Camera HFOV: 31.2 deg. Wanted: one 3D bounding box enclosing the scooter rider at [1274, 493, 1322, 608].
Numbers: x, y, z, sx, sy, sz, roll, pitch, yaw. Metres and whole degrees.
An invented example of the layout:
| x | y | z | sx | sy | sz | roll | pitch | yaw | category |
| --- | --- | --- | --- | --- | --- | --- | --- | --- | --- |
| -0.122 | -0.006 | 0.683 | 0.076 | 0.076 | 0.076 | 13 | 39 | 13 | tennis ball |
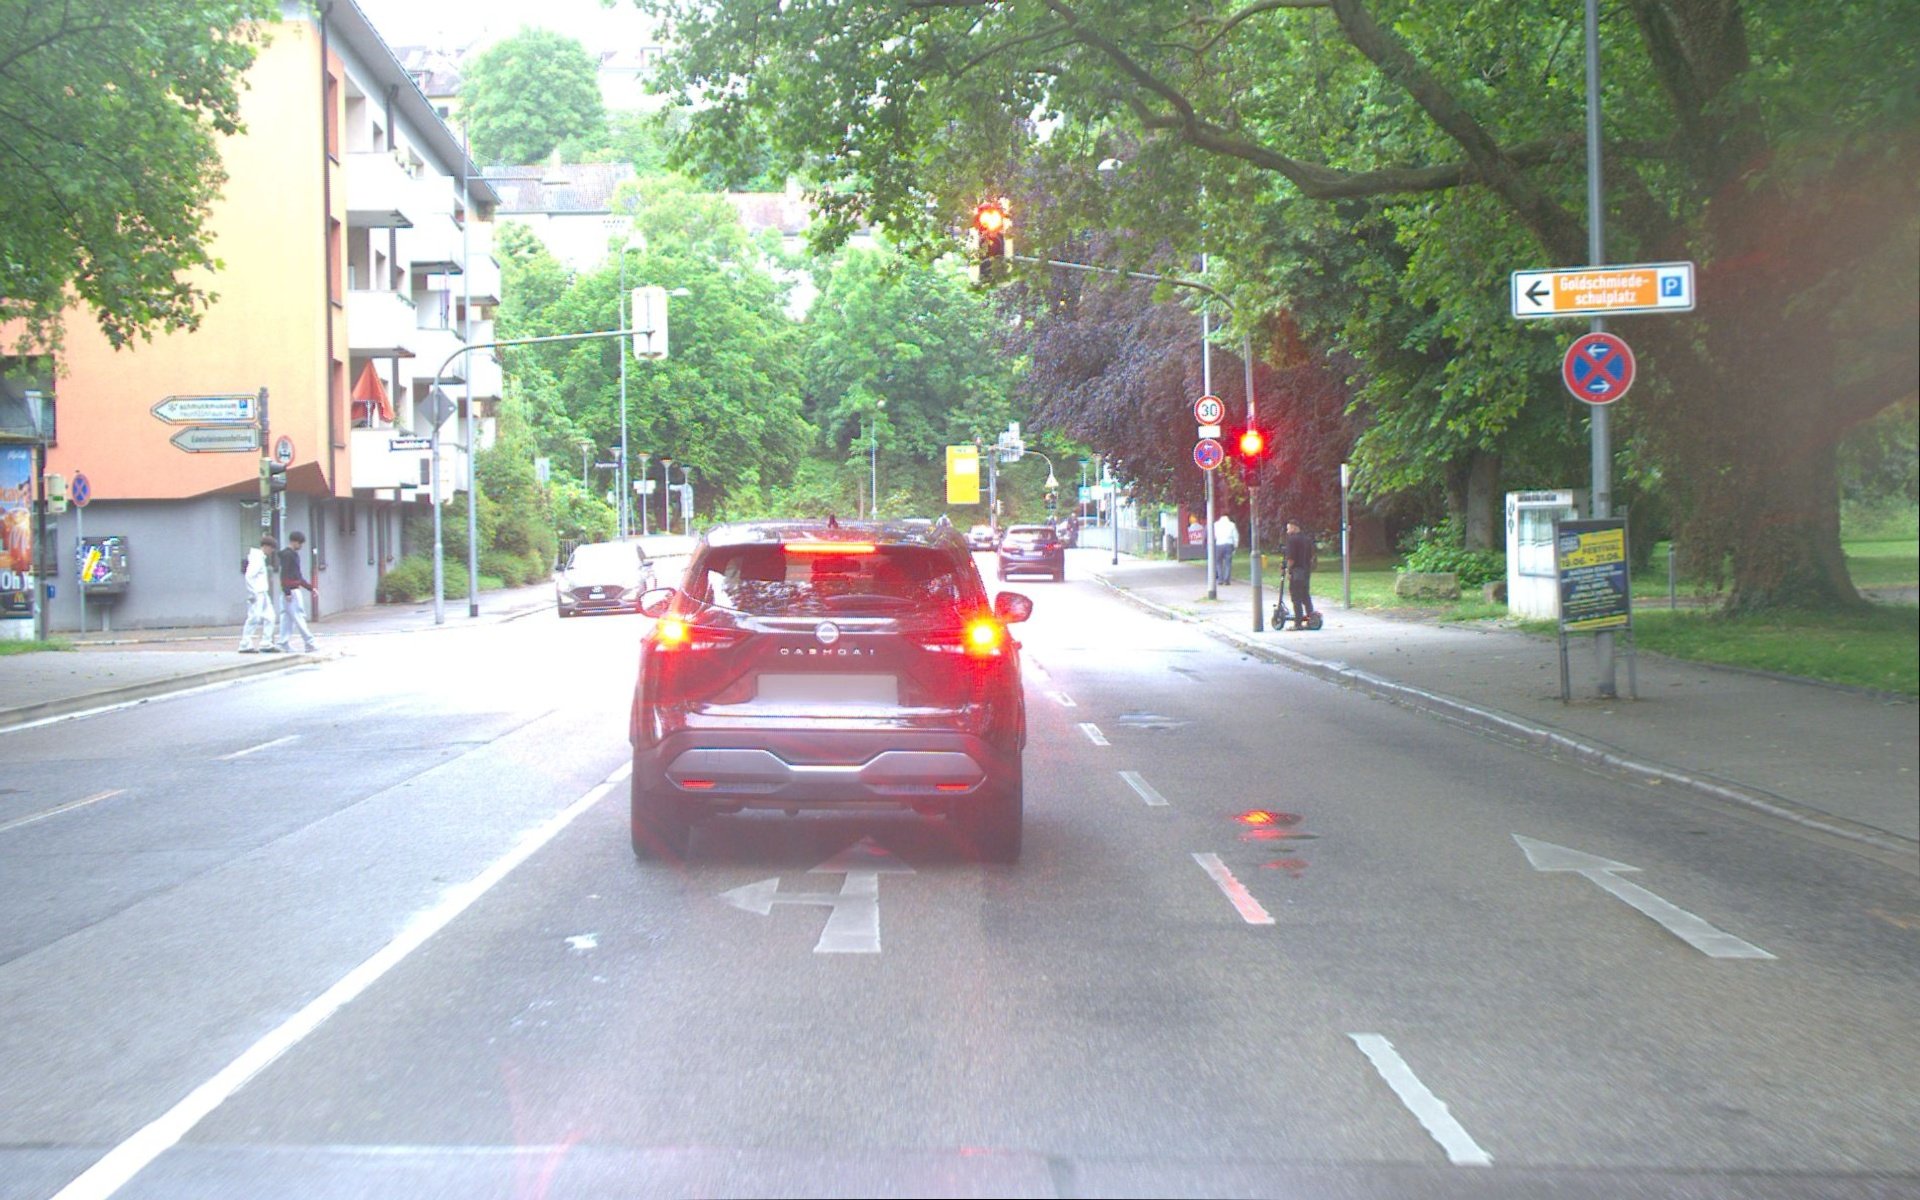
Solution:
| x | y | z | sx | sy | sz | roll | pitch | yaw | category |
| --- | --- | --- | --- | --- | --- | --- | --- | --- | --- |
| 5.231 | -0.763 | 53.193 | 0.643 | 1.760 | 0.735 | 0 | 0 | 11 | scooter rider |

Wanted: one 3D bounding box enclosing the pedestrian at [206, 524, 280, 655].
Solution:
| x | y | z | sx | sy | sz | roll | pitch | yaw | category |
| --- | --- | --- | --- | --- | --- | --- | --- | --- | --- |
| -10.342 | -0.151 | 49.601 | 1.035 | 1.869 | 0.658 | 0 | 1 | -12 | pedestrian |

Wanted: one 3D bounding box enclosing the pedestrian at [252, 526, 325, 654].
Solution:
| x | y | z | sx | sy | sz | roll | pitch | yaw | category |
| --- | --- | --- | --- | --- | --- | --- | --- | --- | --- |
| -9.862 | -0.151 | 50.491 | 1.035 | 1.869 | 0.658 | 0 | 1 | -12 | pedestrian |

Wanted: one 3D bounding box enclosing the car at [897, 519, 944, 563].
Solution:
| x | y | z | sx | sy | sz | roll | pitch | yaw | category |
| --- | --- | --- | --- | --- | --- | --- | --- | --- | --- |
| -1.461 | -2.183 | 126.174 | 1.634 | 1.527 | 3.968 | -2 | 1 | -1 | car |

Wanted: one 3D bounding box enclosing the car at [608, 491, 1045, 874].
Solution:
| x | y | z | sx | sy | sz | roll | pitch | yaw | category |
| --- | --- | --- | --- | --- | --- | --- | --- | --- | --- |
| -0.616 | 0.318 | 17.221 | 1.913 | 1.674 | 4.000 | 1 | 1 | -1 | car |

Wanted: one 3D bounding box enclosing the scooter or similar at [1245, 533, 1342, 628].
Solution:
| x | y | z | sx | sy | sz | roll | pitch | yaw | category |
| --- | --- | --- | --- | --- | --- | --- | --- | --- | --- |
| 5.174 | -0.301 | 53.262 | 1.394 | 1.441 | 0.816 | -1 | 0 | 12 | scooter or similar |

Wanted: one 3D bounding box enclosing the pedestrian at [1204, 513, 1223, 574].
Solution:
| x | y | z | sx | sy | sz | roll | pitch | yaw | category |
| --- | --- | --- | --- | --- | --- | --- | --- | --- | --- |
| 6.270 | -1.404 | 85.084 | 0.390 | 1.497 | 0.559 | -1 | 1 | -1 | pedestrian |

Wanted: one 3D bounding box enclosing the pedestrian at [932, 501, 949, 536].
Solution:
| x | y | z | sx | sy | sz | roll | pitch | yaw | category |
| --- | --- | --- | --- | --- | --- | --- | --- | --- | --- |
| -0.936 | -3.900 | 164.773 | 0.509 | 1.667 | 0.658 | -1 | 1 | 27 | pedestrian |

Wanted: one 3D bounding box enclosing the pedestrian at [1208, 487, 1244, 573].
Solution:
| x | y | z | sx | sy | sz | roll | pitch | yaw | category |
| --- | --- | --- | --- | --- | --- | --- | --- | --- | --- |
| 6.250 | -1.643 | 80.682 | 0.725 | 2.007 | 0.851 | -1 | 1 | -1 | pedestrian |

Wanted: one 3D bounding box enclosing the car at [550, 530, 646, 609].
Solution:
| x | y | z | sx | sy | sz | roll | pitch | yaw | category |
| --- | --- | --- | --- | --- | --- | --- | --- | --- | --- |
| -7.421 | -0.643 | 70.756 | 1.795 | 1.528 | 3.868 | -2 | 1 | -4 | car |

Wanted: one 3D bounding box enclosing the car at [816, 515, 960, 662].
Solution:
| x | y | z | sx | sy | sz | roll | pitch | yaw | category |
| --- | --- | --- | --- | --- | --- | --- | --- | --- | --- |
| -0.900 | -0.179 | 43.532 | 1.698 | 1.739 | 3.641 | -2 | 1 | -1 | car |

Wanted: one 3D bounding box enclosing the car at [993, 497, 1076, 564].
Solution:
| x | y | z | sx | sy | sz | roll | pitch | yaw | category |
| --- | --- | --- | --- | --- | --- | --- | --- | --- | --- |
| 2.040 | -1.856 | 92.822 | 1.994 | 1.729 | 4.000 | 2 | 1 | 4 | car |
